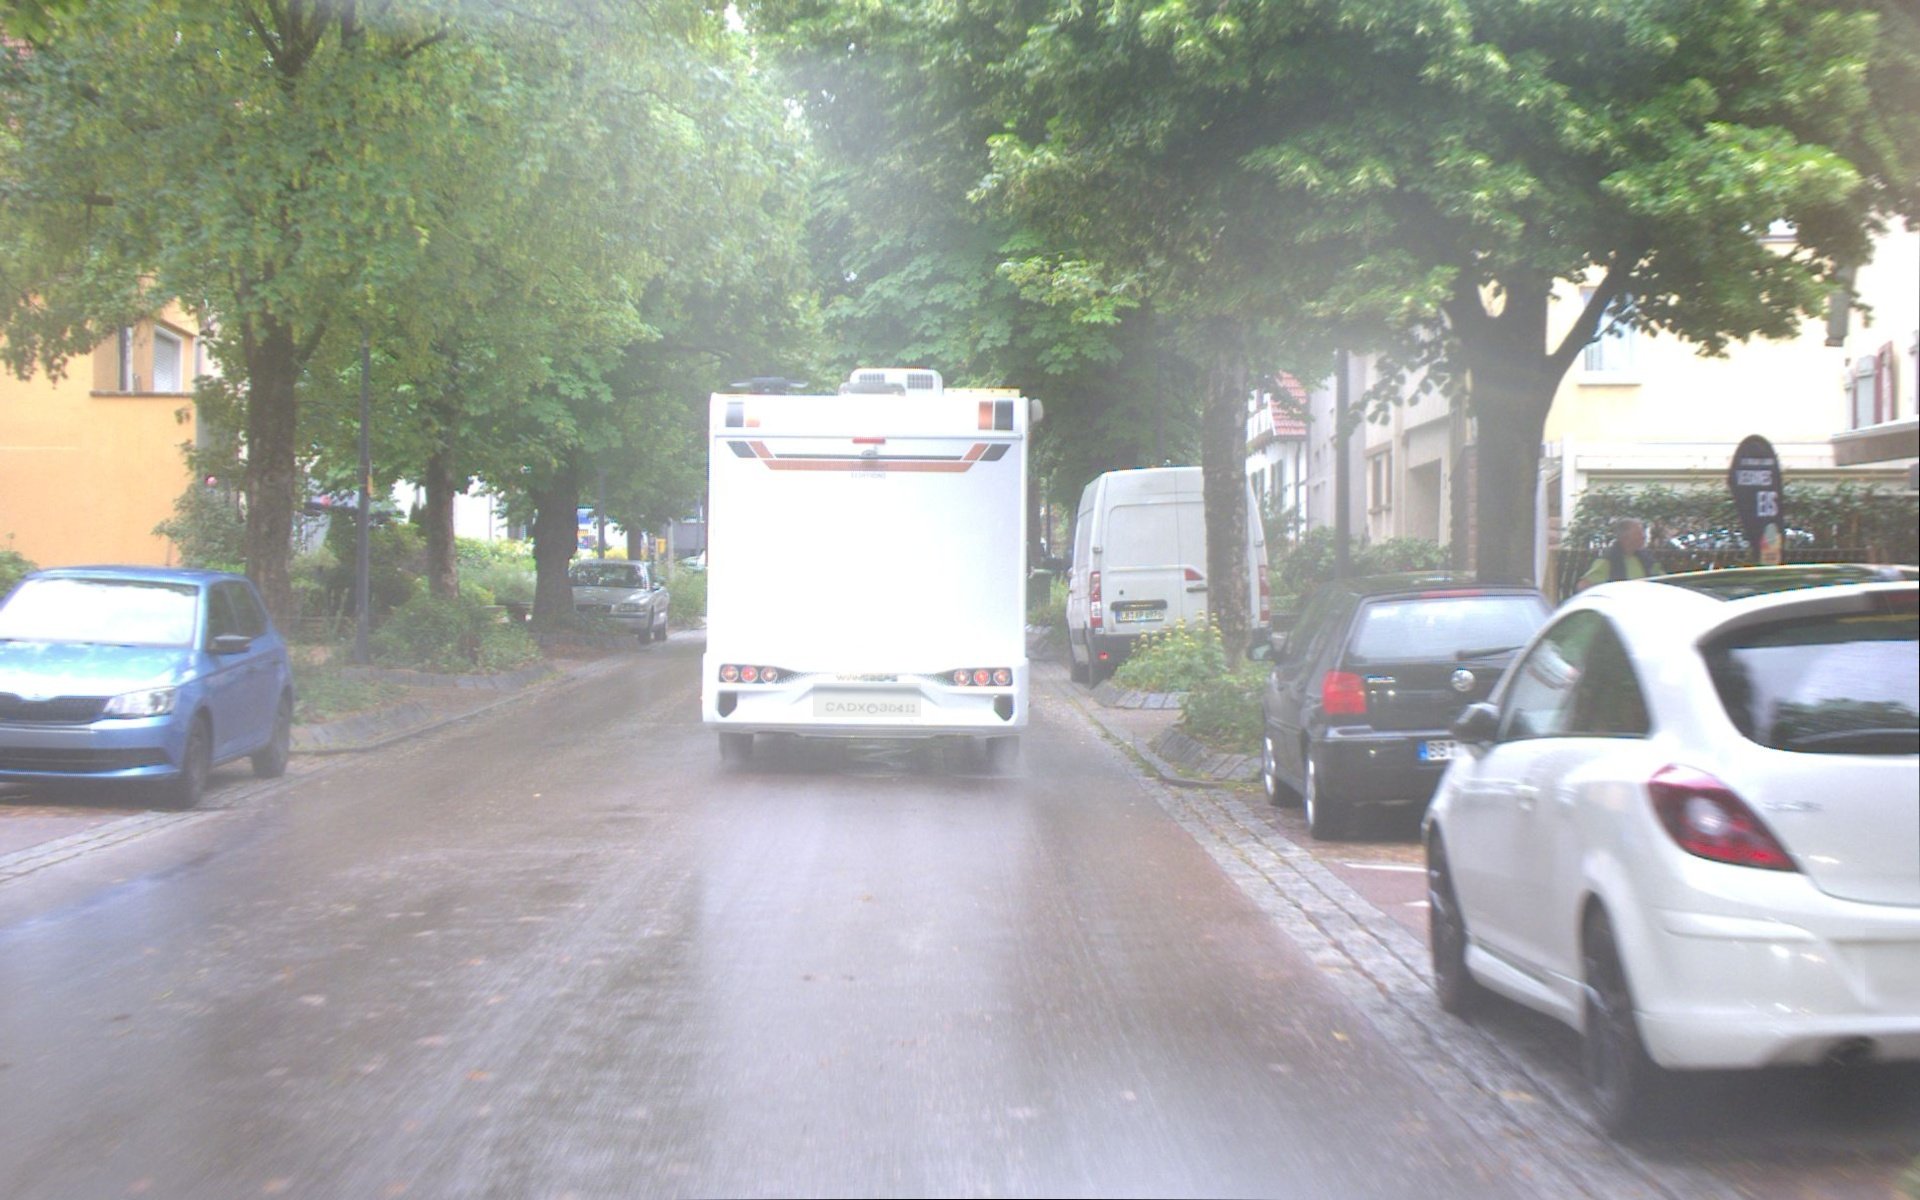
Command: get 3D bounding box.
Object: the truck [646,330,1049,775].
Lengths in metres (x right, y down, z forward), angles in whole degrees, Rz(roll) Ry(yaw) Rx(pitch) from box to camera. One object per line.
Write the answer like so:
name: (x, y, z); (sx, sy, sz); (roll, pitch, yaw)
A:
truck: (-0.787, -0.349, 26.391); (2.694, 2.975, 6.237); (1, 0, 0)

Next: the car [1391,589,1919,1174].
car: (2.416, 0.681, 10.294); (1.680, 1.395, 3.795); (0, 1, -1)

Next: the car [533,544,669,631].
car: (-6.151, -0.236, 59.381); (1.772, 1.384, 4.545); (2, 1, 1)

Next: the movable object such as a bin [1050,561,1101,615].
movable object such as a bin: (2.805, -0.291, 83.703); (1.225, 1.311, 1.134); (0, 0, 2)

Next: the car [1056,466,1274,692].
car: (2.320, -0.253, 40.299); (2.141, 2.451, 5.435); (1, 0, -1)

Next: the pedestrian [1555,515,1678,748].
pedestrian: (4.919, 0.232, 25.777); (0.766, 1.725, 0.492); (0, 1, -12)

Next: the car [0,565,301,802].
car: (-5.534, 0.479, 22.359); (1.749, 1.391, 3.796); (1, 0, 0)

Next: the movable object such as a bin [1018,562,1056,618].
movable object such as a bin: (1.506, -0.204, 67.103); (0.688, 1.079, 0.541); (1, 0, -4)

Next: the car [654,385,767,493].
car: (-5.012, -3.235, 69.574); (1.993, 2.007, 4.000); (1, 0, 0)

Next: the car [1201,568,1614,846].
car: (2.459, 0.539, 19.757); (1.808, 1.406, 3.784); (1, 1, -1)

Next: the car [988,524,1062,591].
car: (1.811, -1.224, 97.073); (1.914, 1.786, 4.489); (1, 2, -1)

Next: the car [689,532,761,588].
car: (-6.661, -1.150, 97.587); (1.647, 1.528, 3.865); (1, 1, 1)
